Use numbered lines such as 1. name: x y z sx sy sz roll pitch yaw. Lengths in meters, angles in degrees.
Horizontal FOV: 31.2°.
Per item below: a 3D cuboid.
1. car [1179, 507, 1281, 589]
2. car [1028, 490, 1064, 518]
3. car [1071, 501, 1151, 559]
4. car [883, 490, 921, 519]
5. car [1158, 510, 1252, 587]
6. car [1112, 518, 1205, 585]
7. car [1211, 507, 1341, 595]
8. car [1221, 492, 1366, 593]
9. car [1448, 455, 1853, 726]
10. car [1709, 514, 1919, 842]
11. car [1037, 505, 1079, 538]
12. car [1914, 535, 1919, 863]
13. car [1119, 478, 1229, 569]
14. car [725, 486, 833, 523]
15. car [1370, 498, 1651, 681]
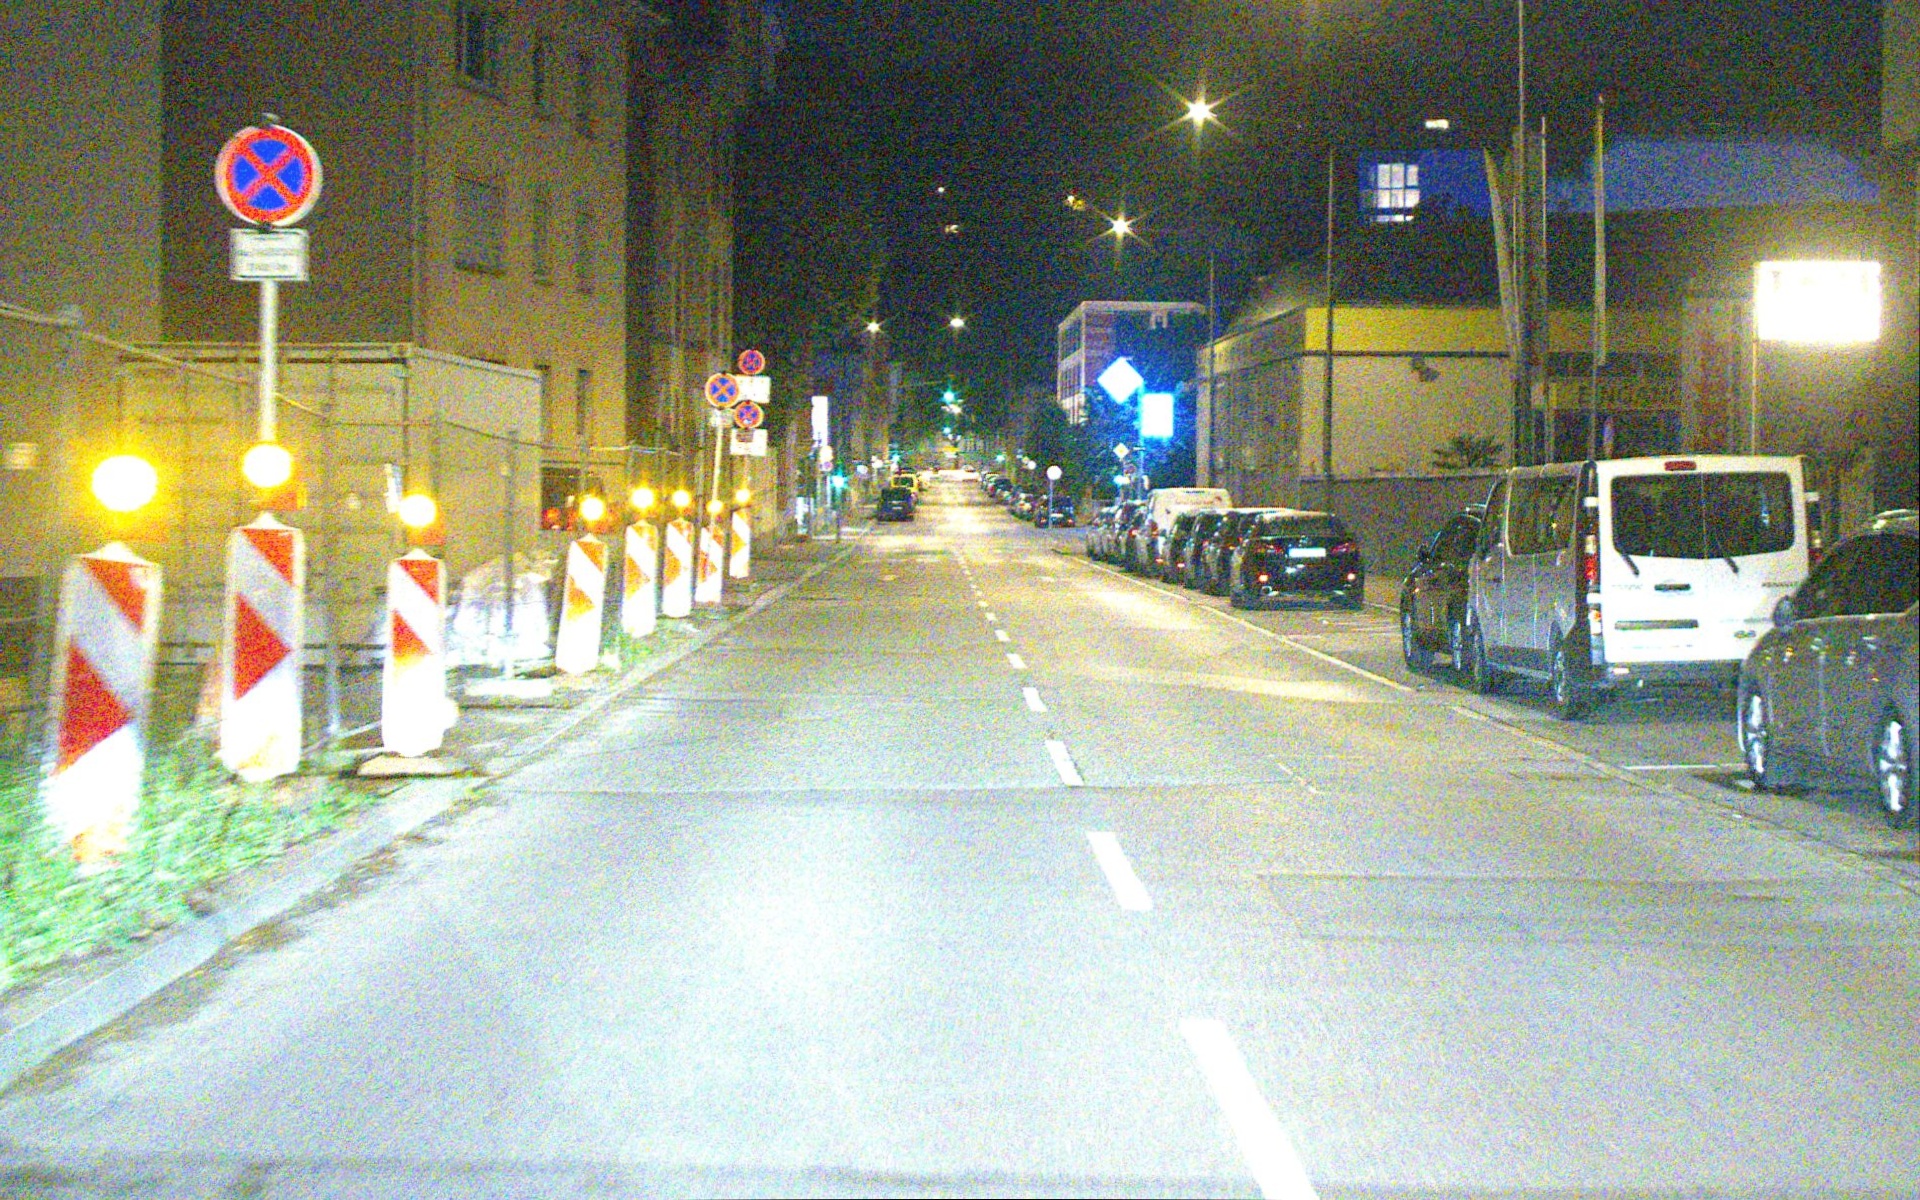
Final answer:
1. car: 5.006 -0.976 64.012 1.595 1.462 3.719 1 1 0
2. car: 4.821 -5.405 192.925 1.993 1.515 4.000 1 1 1
3. car: 4.155 -1.944 94.912 1.774 1.539 4.547 1 1 -3
4. car: -3.170 -5.190 187.547 1.993 1.496 4.000 1 1 0
5. car: 4.860 -1.047 68.639 1.595 1.462 3.892 1 1 0
6. car: 4.540 -1.139 79.199 1.816 1.422 4.189 -1 2 -1
7. car: 5.368 -0.850 58.853 1.779 1.422 3.892 1 1 -1
8. car: 4.988 -0.883 51.944 1.779 1.422 4.481 1 1 1
9. car: 5.360 -0.128 27.469 2.072 1.922 5.371 -1 1 -1
10. car: 5.412 0.316 18.518 1.744 1.560 4.211 -1 1 -1
11. car: 4.814 -3.888 169.132 1.993 1.511 4.000 2 2 1
12. car: 5.320 0.497 13.425 1.744 1.503 4.834 -1 1 -1
13. car: 4.585 -1.678 74.278 1.800 1.868 4.775 -1 2 -3
14. car: -7.607 -4.017 144.497 4.439 1.444 2.000 1 1 0
15. car: 5.237 -0.145 33.215 1.819 1.593 4.221 -2 1 -3
